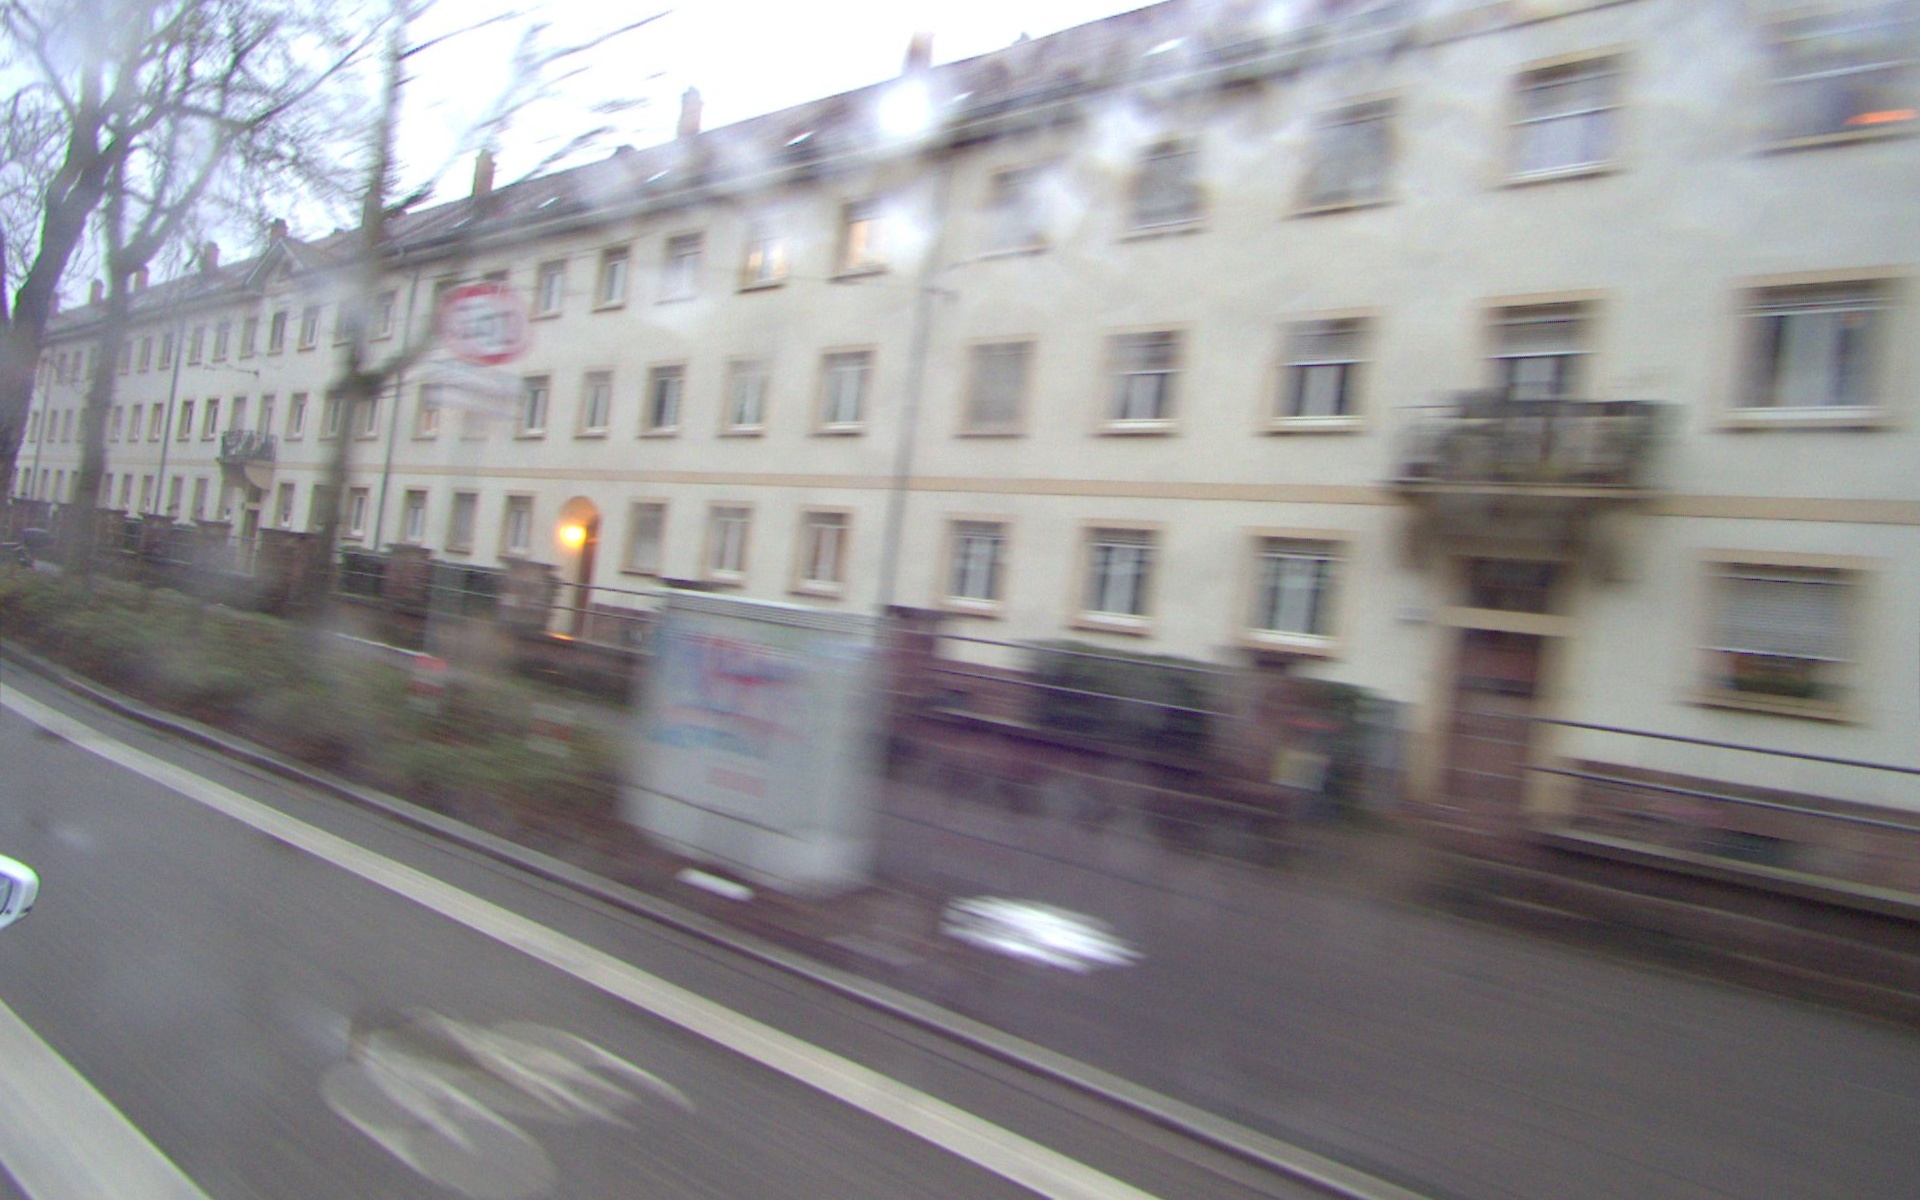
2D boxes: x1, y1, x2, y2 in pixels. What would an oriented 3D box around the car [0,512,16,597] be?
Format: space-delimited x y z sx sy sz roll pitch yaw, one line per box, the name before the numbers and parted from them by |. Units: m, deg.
car | -19.591 -1.095 18.926 3.925 1.526 1.788 6 -3 35
